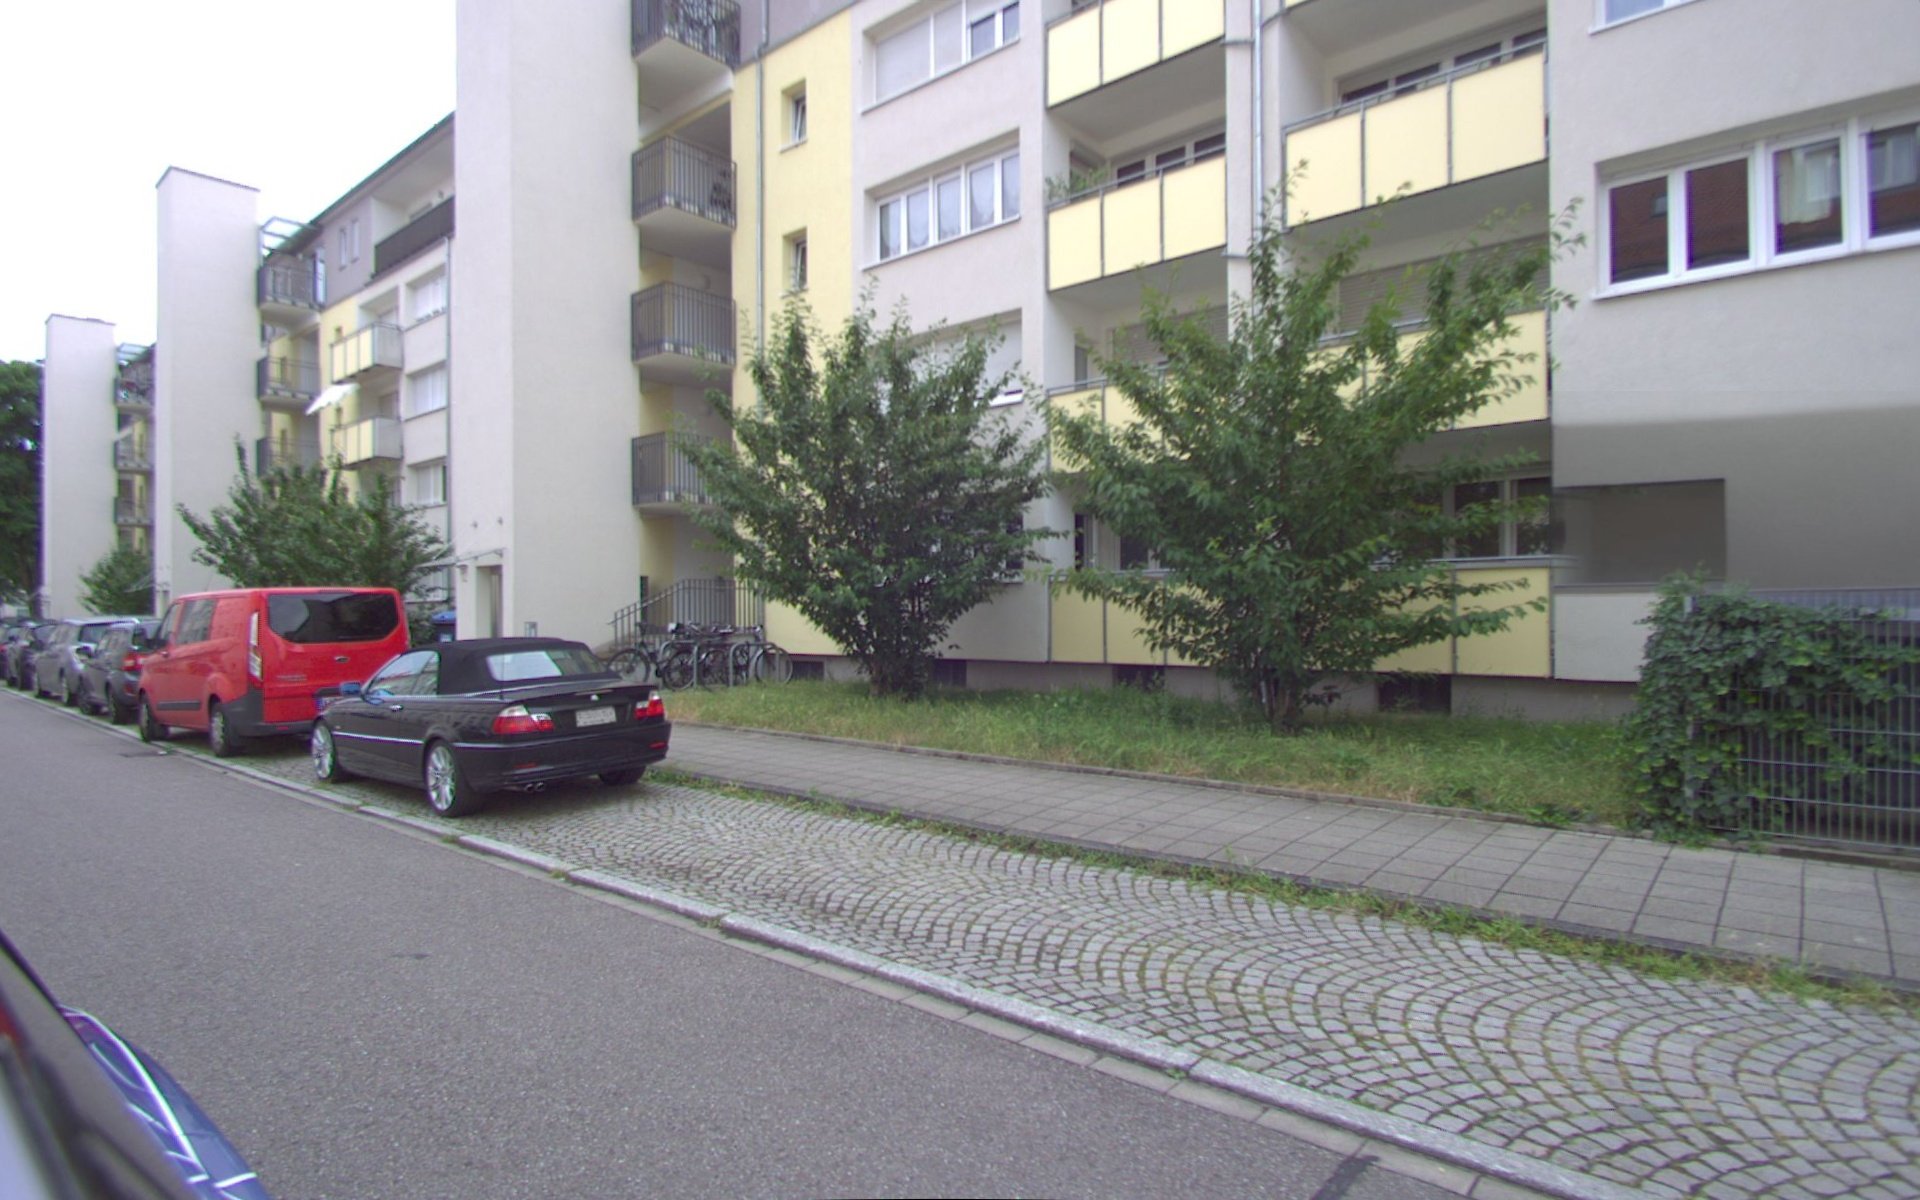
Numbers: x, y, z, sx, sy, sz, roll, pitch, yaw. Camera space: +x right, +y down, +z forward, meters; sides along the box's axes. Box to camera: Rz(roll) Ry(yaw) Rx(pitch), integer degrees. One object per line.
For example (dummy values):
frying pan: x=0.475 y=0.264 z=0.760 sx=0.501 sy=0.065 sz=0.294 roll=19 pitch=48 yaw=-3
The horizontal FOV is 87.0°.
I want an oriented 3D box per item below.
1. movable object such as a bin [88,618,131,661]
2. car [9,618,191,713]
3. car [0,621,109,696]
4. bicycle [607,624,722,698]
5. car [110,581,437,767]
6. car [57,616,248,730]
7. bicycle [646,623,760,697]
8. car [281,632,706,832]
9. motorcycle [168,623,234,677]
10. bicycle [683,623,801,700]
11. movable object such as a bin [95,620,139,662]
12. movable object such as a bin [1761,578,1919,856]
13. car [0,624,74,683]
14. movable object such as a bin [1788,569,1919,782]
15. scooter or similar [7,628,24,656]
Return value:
movable object such as a bin: x=-30.904 y=1.427 z=36.784 sx=1.314 sy=1.512 sz=0.991 roll=-1 pitch=0 yaw=41
car: x=-17.110 y=1.213 z=20.050 sx=4.855 sy=1.582 sz=1.817 roll=-1 pitch=1 yaw=38
car: x=-21.473 y=1.314 z=23.868 sx=3.895 sy=1.541 sz=1.635 roll=-1 pitch=1 yaw=43
bicycle: x=-4.925 y=0.986 z=16.941 sx=0.604 sy=1.127 sz=1.816 roll=-2 pitch=0 yaw=39
car: x=-9.078 y=0.824 z=13.224 sx=4.915 sy=1.968 sz=2.131 roll=-1 pitch=1 yaw=39
car: x=-13.379 y=1.105 z=16.690 sx=4.051 sy=1.582 sz=1.703 roll=-1 pitch=1 yaw=41
bicycle: x=-4.225 y=0.966 z=16.728 sx=0.570 sy=1.127 sz=1.815 roll=-2 pitch=-1 yaw=42
car: x=-4.455 y=1.011 z=9.354 sx=4.357 sy=1.333 sz=1.851 roll=-1 pitch=0 yaw=40
motorcycle: x=-19.745 y=1.276 z=26.313 sx=2.418 sy=1.316 sz=0.860 roll=-2 pitch=0 yaw=41
bicycle: x=-3.452 y=0.949 z=16.132 sx=1.813 sy=1.127 sz=0.571 roll=0 pitch=-1 yaw=-43
movable object such as a bin: x=-29.906 y=1.434 z=35.888 sx=1.314 sy=1.458 sz=0.991 roll=-1 pitch=0 yaw=41
movable object such as a bin: x=5.253 y=0.601 z=5.532 sx=1.288 sy=1.440 sz=0.795 roll=-1 pitch=0 yaw=43
car: x=-25.629 y=1.427 z=27.633 sx=3.854 sy=1.449 sz=1.627 roll=-1 pitch=1 yaw=41
movable object such as a bin: x=7.062 y=0.513 z=7.517 sx=1.371 sy=1.475 sz=1.339 roll=-1 pitch=0 yaw=39
scooter or similar: x=-42.994 y=1.925 z=46.071 sx=1.135 sy=1.253 sz=0.432 roll=-2 pitch=-2 yaw=41
